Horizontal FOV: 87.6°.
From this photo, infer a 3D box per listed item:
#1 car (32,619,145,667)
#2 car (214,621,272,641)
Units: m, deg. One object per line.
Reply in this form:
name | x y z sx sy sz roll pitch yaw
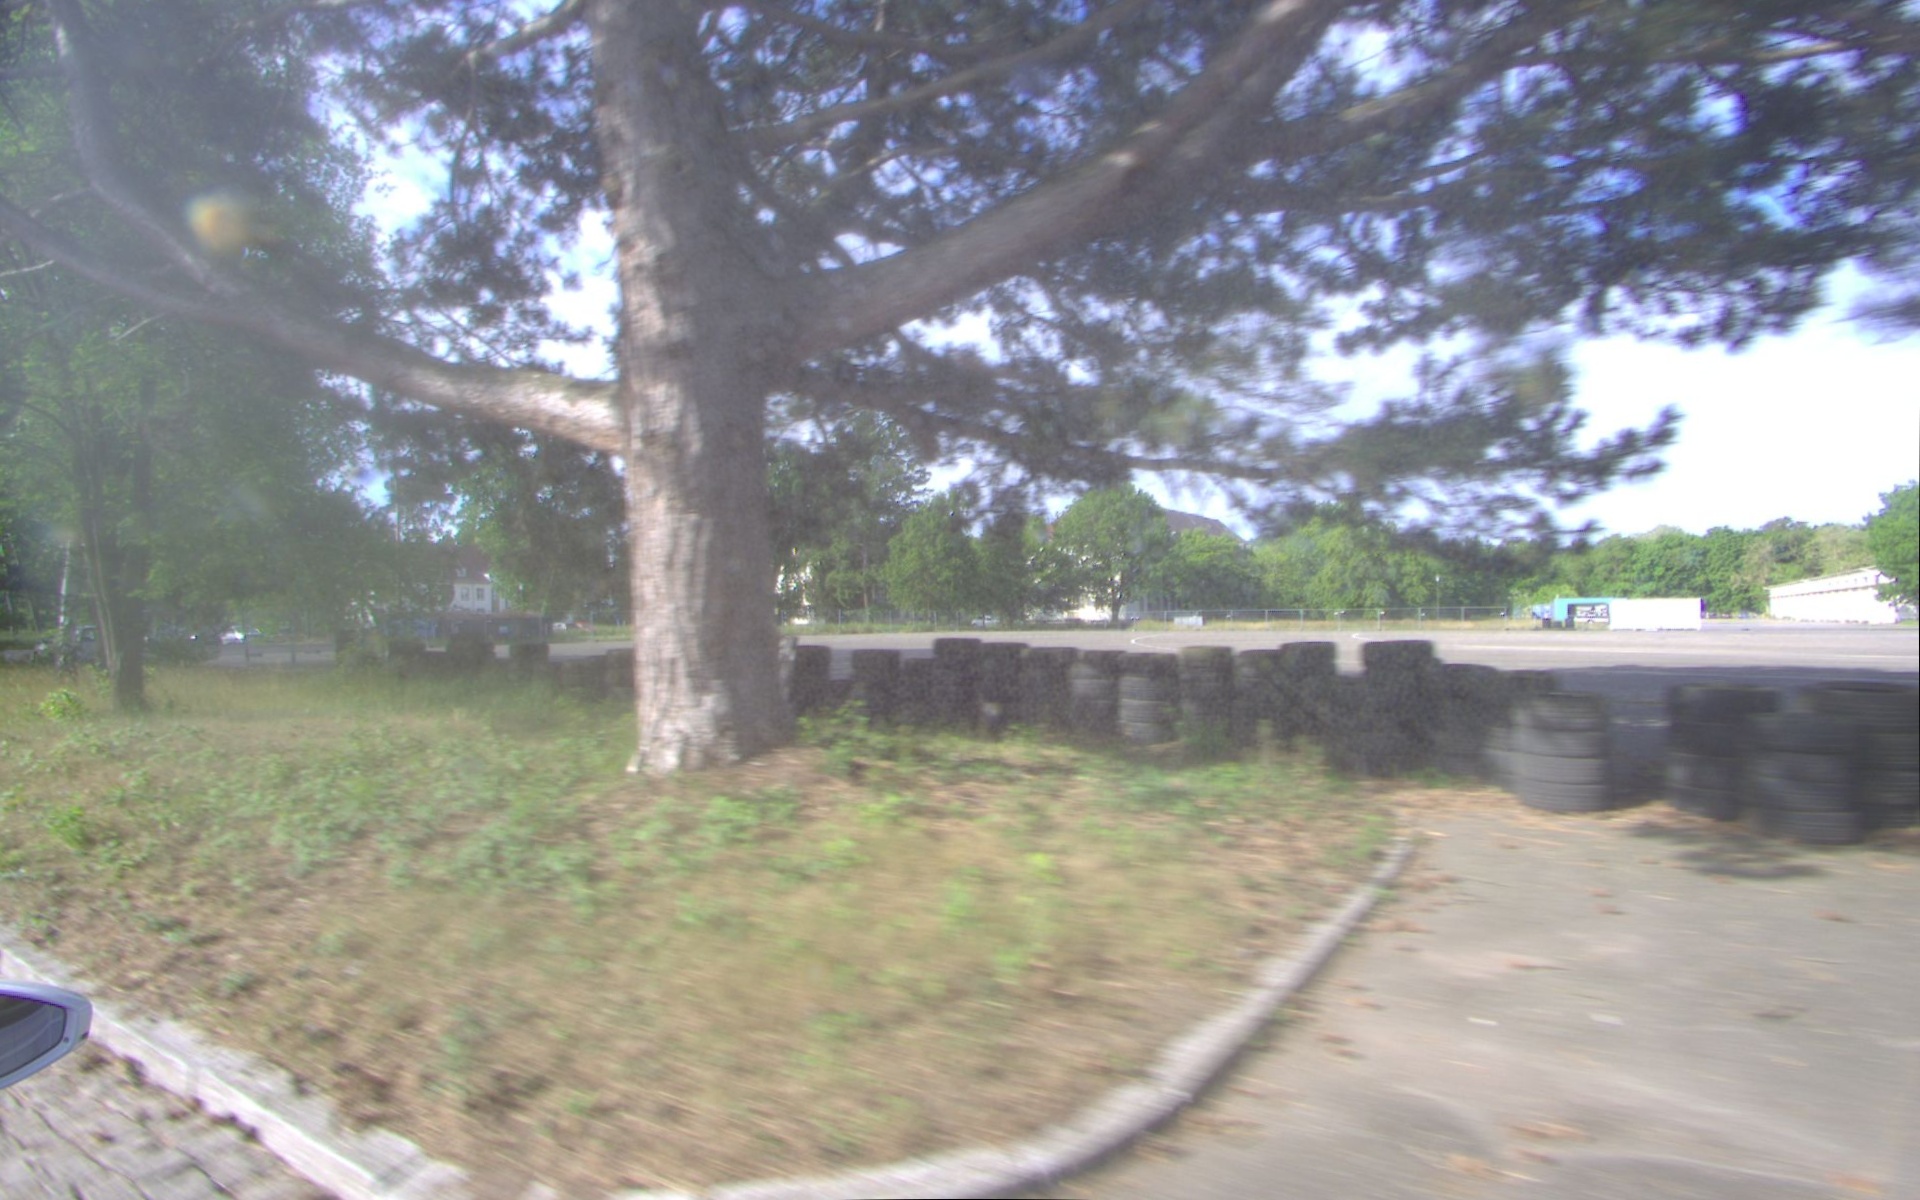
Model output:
car | -28.390 1.370 32.585 3.942 1.487 1.664 -1 -1 31
car | -49.483 2.126 69.121 4.269 1.329 1.728 -1 0 32
